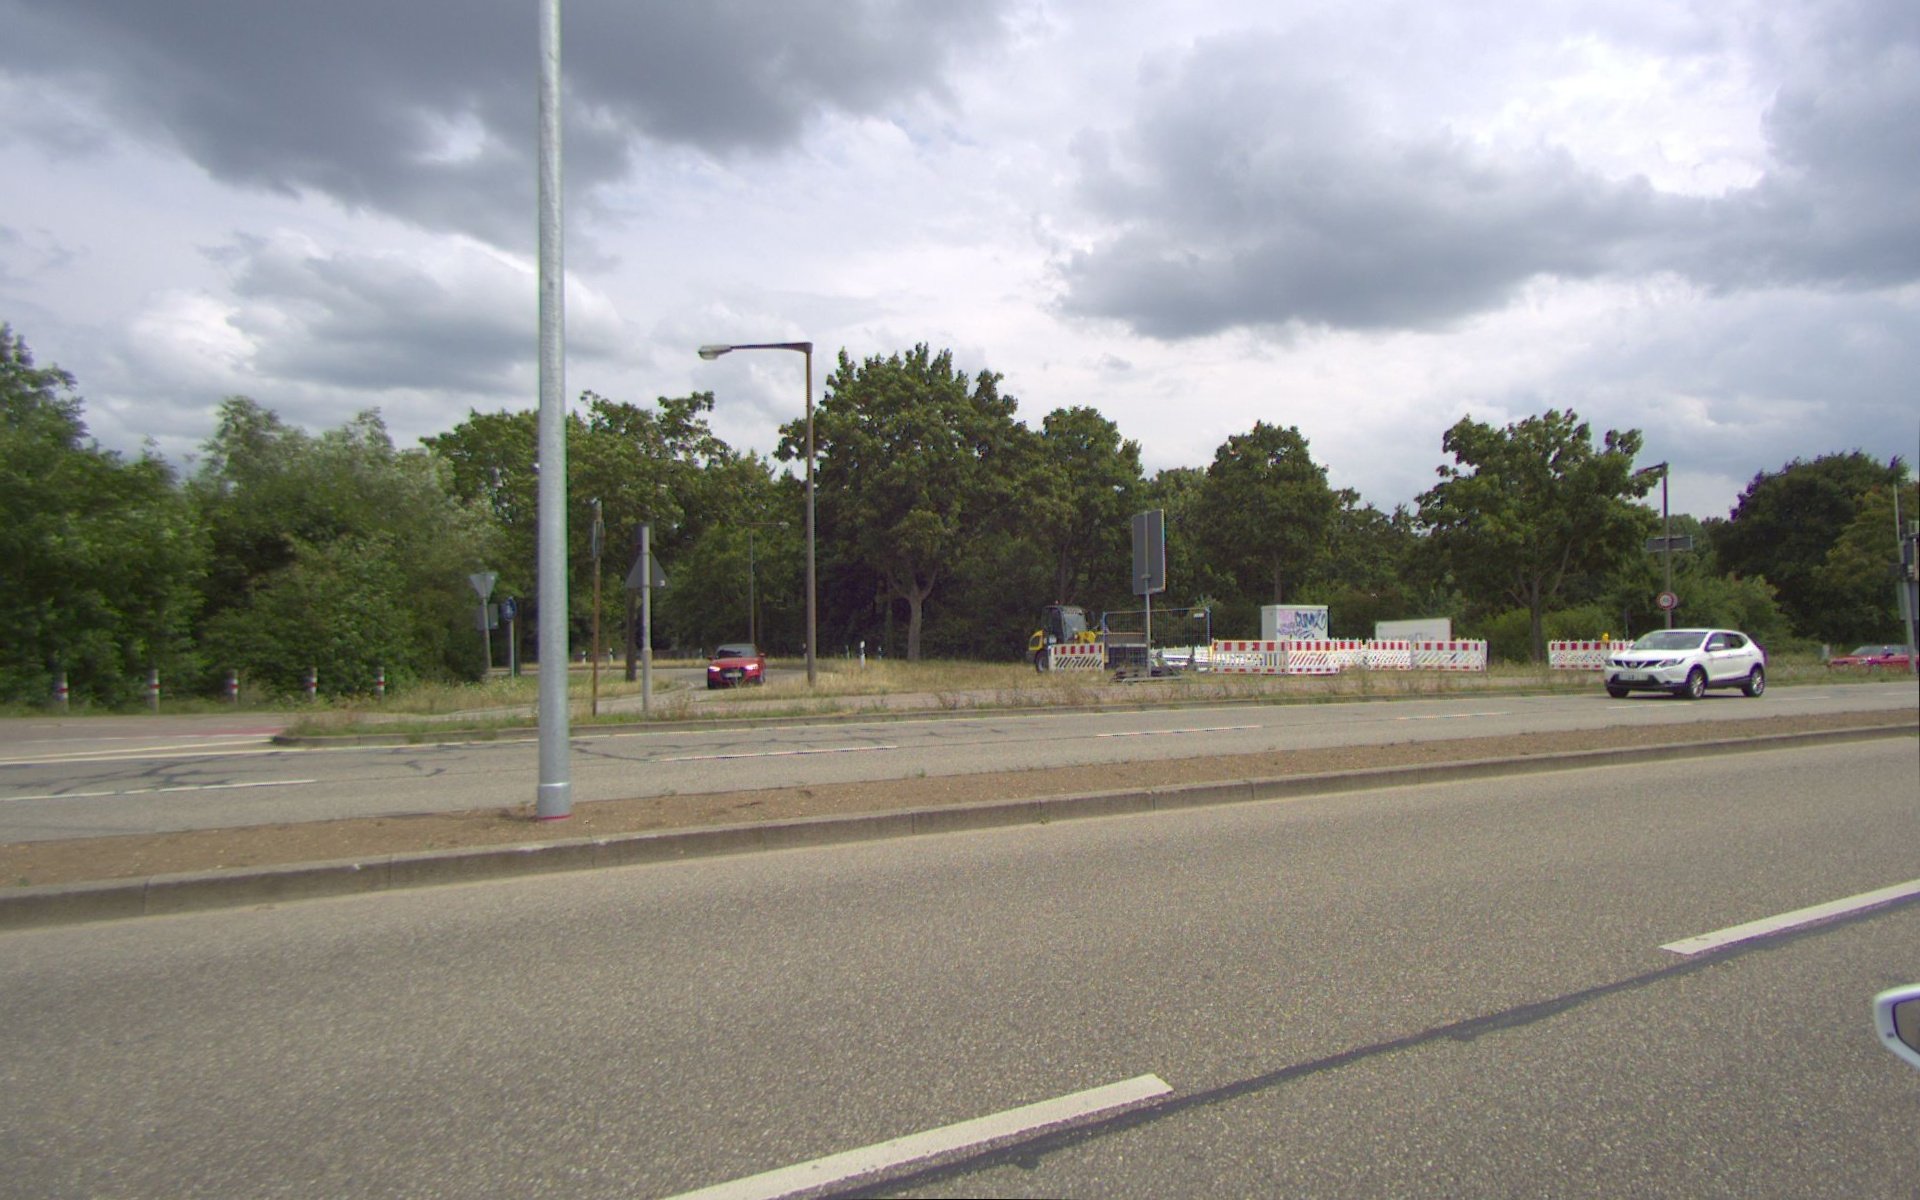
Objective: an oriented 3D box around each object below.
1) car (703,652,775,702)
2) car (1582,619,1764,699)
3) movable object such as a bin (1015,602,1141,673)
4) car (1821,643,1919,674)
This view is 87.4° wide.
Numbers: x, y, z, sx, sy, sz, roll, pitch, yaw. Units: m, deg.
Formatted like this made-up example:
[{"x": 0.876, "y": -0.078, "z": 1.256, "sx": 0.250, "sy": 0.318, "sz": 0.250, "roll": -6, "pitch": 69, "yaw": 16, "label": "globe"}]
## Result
[{"x": -7.357, "y": 2.533, "z": 33.841, "sx": 1.747, "sy": 1.391, "sz": 4.295, "roll": 0, "pitch": -1, "yaw": -4, "label": "car"}, {"x": 16.457, "y": 1.284, "z": 23.159, "sx": 4.329, "sy": 1.651, "sz": 1.688, "roll": 0, "pitch": -1, "yaw": -28, "label": "car"}, {"x": 4.231, "y": 1.329, "z": 36.681, "sx": 1.982, "sy": 2.429, "sz": 4.543, "roll": 0, "pitch": -1, "yaw": -38, "label": "movable object such as a bin"}, {"x": 39.648, "y": 2.523, "z": 43.615, "sx": 3.823, "sy": 1.261, "sz": 1.405, "roll": 1, "pitch": 0, "yaw": -12, "label": "car"}]
